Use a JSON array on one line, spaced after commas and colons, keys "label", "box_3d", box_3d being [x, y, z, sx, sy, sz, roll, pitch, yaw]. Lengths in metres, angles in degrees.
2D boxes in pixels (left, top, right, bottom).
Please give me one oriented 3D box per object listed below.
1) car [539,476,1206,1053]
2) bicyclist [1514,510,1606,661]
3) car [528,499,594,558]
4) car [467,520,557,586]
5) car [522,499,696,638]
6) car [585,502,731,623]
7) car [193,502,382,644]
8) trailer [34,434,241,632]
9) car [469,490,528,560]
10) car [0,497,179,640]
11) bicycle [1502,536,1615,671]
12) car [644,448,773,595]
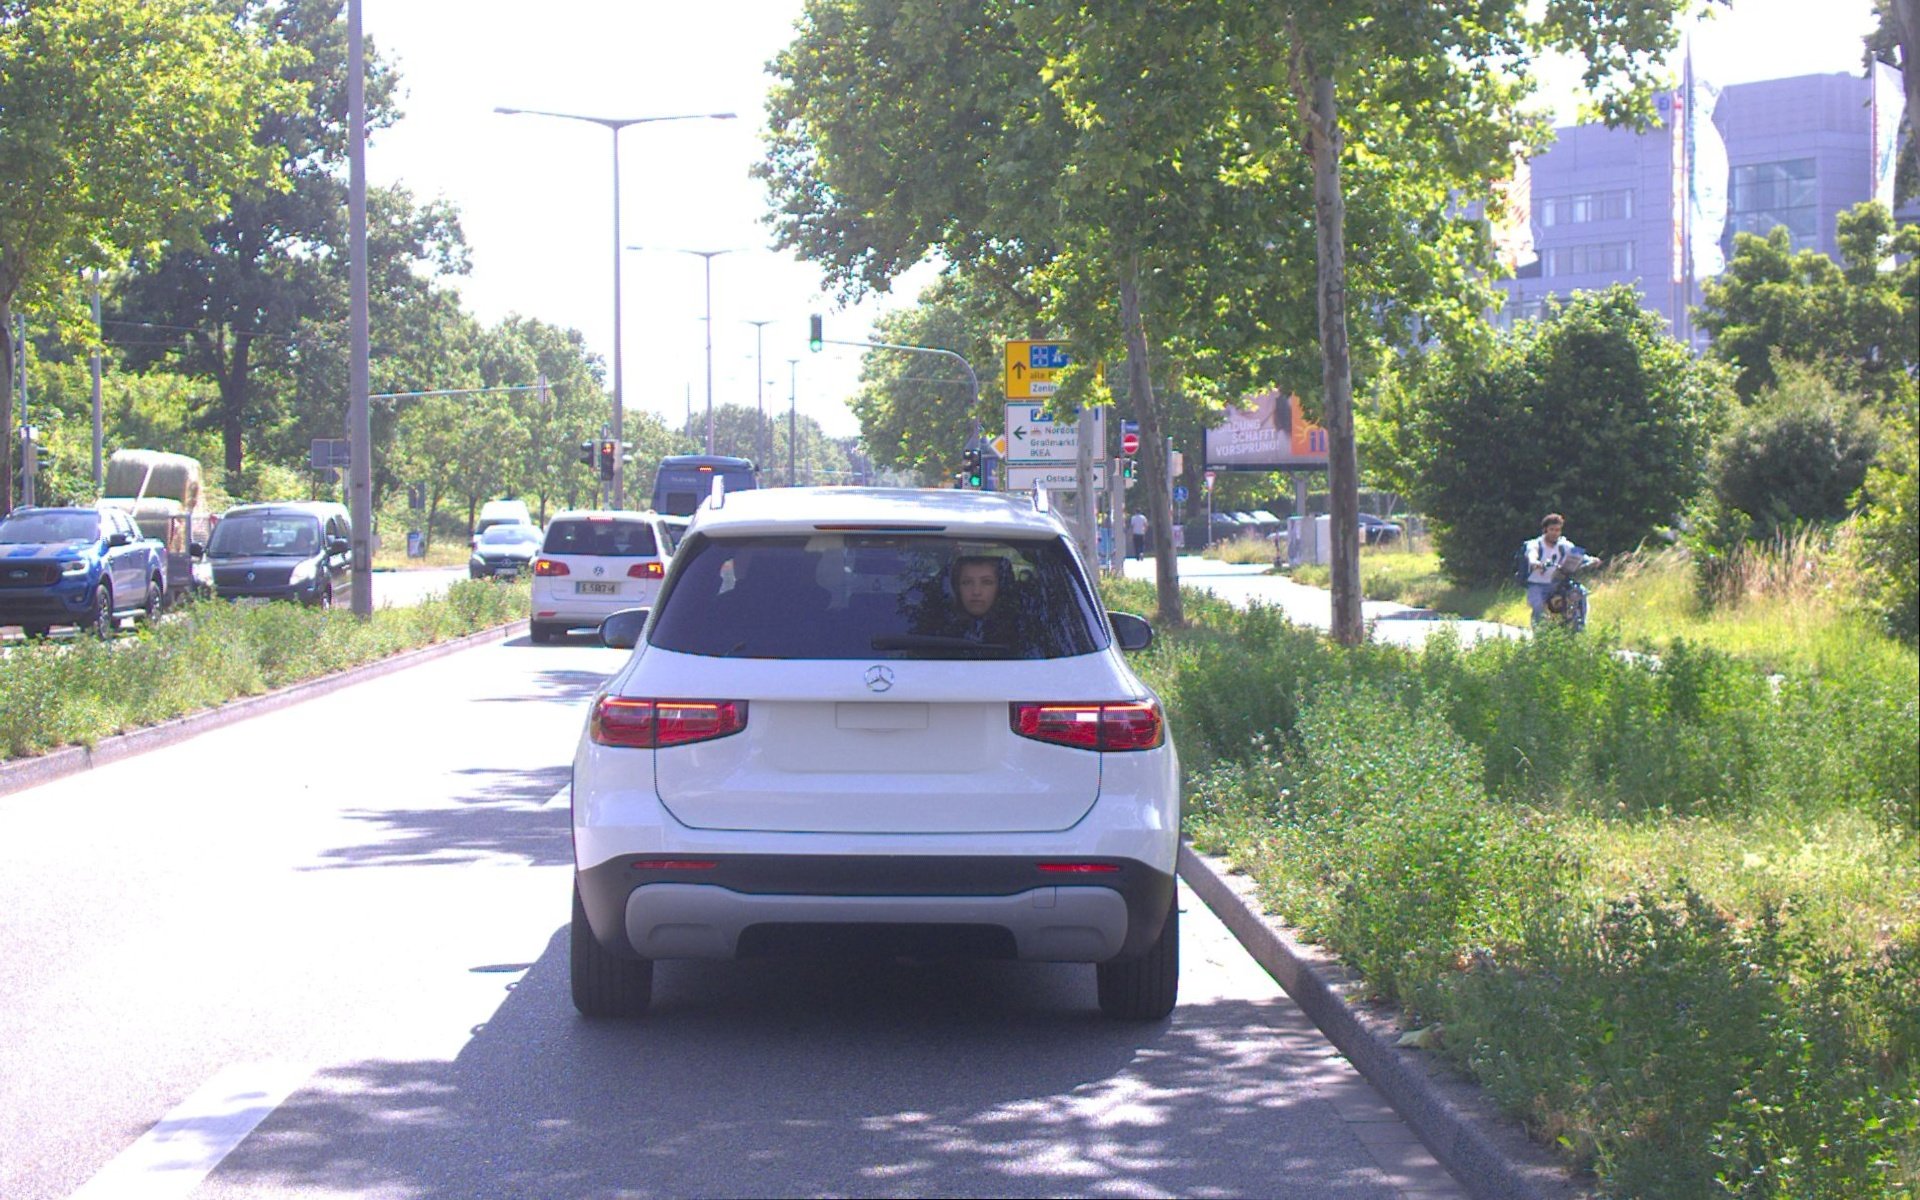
[{"label": "car", "box_3d": [-0.308, 0.411, 11.561, 1.853, 1.602, 4.001, 0, 1, -2]}, {"label": "bicyclist", "box_3d": [5.991, -0.154, 34.378, 0.704, 1.472, 1.010, 1, 1, -1]}, {"label": "car", "box_3d": [-13.307, -2.399, 114.859, 1.993, 1.875, 4.001, 2, 1, -5]}, {"label": "car", "box_3d": [-10.313, -1.093, 79.384, 1.602, 1.467, 3.790, 1, 1, -1]}, {"label": "car", "box_3d": [-4.364, -0.416, 43.257, 1.771, 1.641, 4.352, 1, 1, -1]}, {"label": "car", "box_3d": [-4.307, -0.555, 49.464, 1.771, 1.641, 4.085, 1, 1, -1]}, {"label": "car", "box_3d": [-9.091, -0.391, 46.771, 1.731, 1.803, 4.232, 2, 1, -1]}, {"label": "trailer", "box_3d": [-12.044, -0.987, 50.640, 1.880, 2.734, 4.829, 2, 1, -1]}, {"label": "car", "box_3d": [-16.489, -2.692, 123.077, 1.993, 2.410, 5.141, 0, 1, -7]}, {"label": "car", "box_3d": [-11.994, -0.463, 46.231, 1.764, 1.783, 5.376, 2, 1, -1]}, {"label": "bicycle", "box_3d": [5.971, 0.014, 34.380, 0.722, 1.294, 2.096, 1, 1, -1]}, {"label": "car", "box_3d": [-4.745, -1.483, 65.460, 2.081, 2.647, 4.874, 1, 1, -1]}]
